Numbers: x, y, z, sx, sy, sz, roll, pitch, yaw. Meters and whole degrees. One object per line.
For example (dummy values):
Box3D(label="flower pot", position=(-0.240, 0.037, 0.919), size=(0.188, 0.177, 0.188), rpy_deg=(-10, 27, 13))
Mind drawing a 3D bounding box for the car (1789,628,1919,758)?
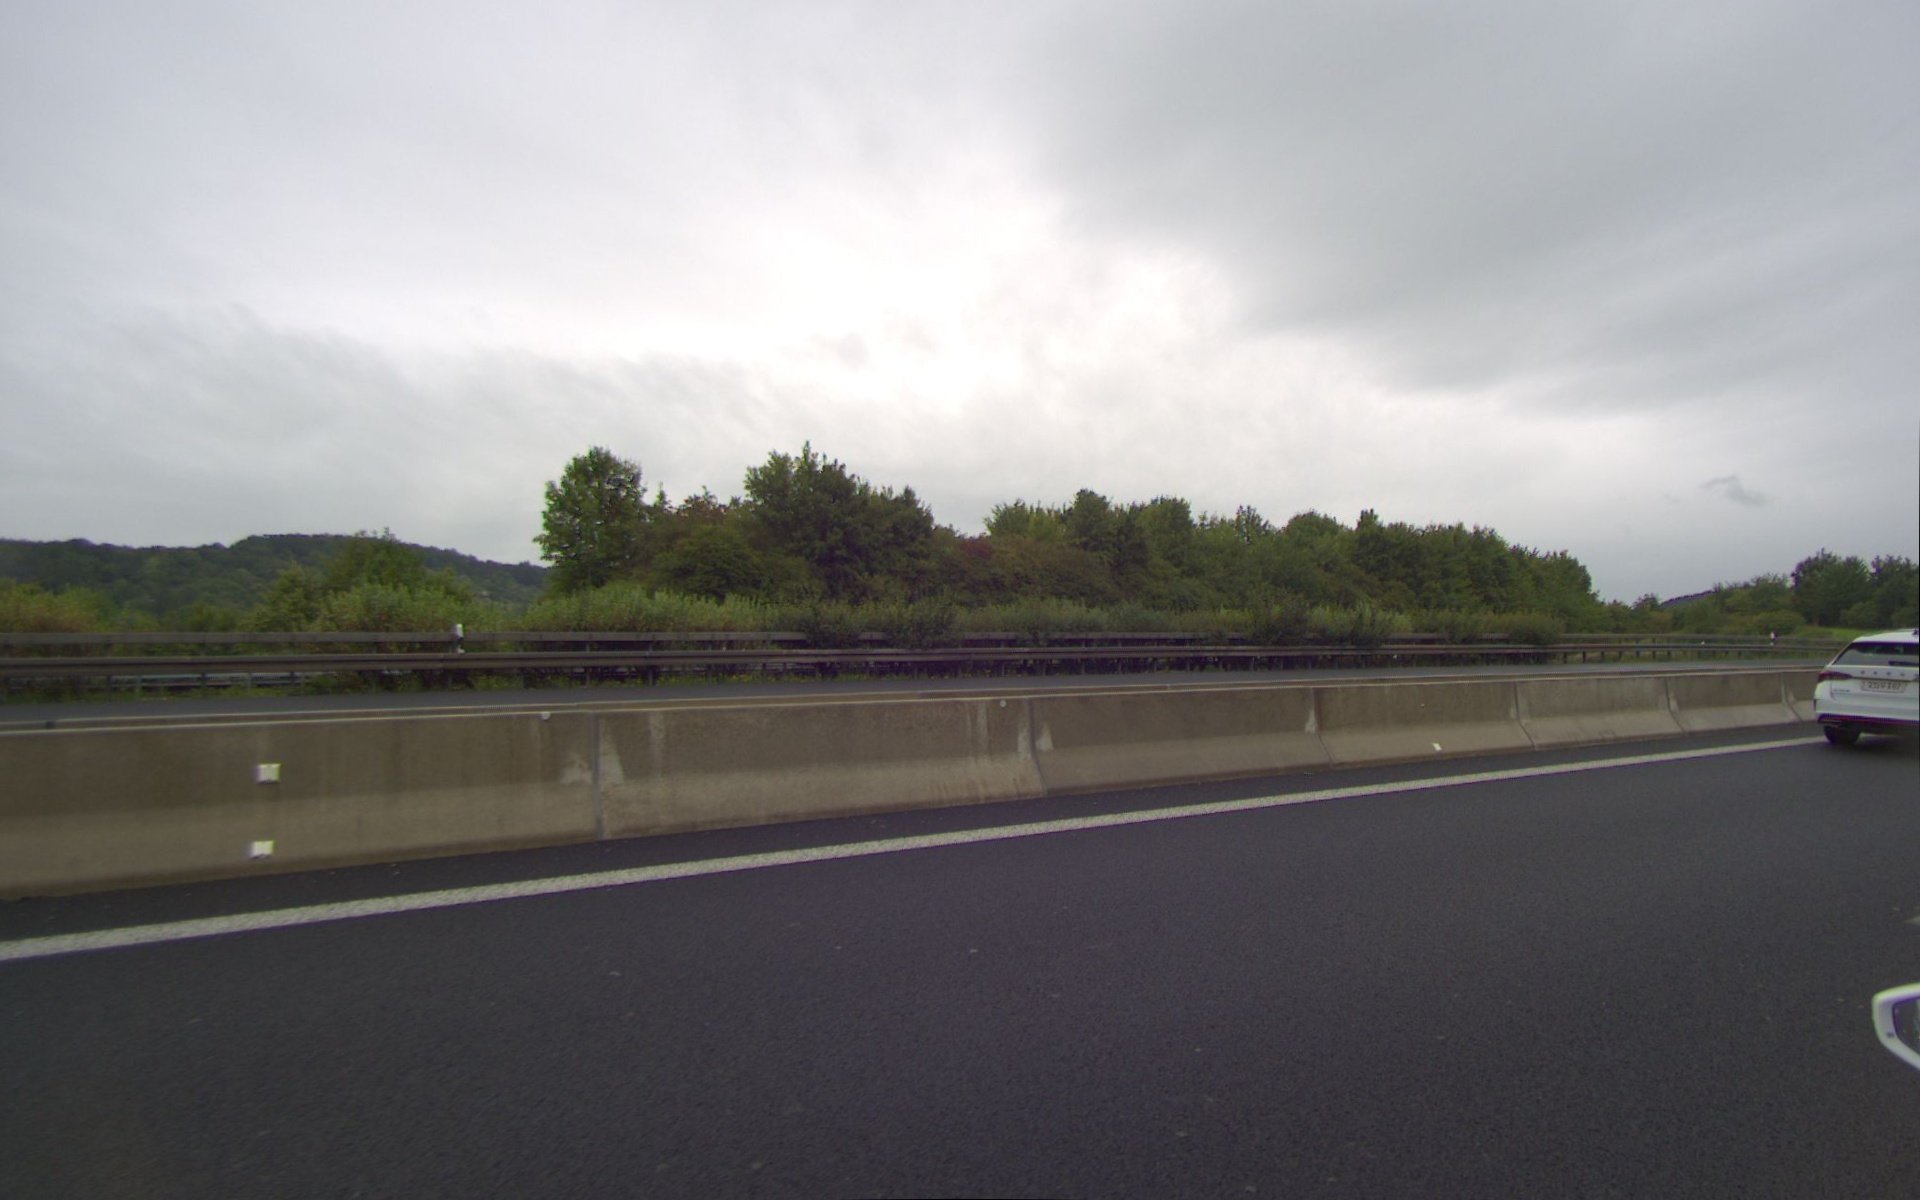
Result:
Box3D(label="car", position=(12.773, 1.128, 12.881), size=(4.722, 1.475, 1.810), rpy_deg=(2, -2, -30))

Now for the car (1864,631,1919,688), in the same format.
Box3D(label="car", position=(31.162, 1.888, 32.222), size=(4.252, 1.733, 1.985), rpy_deg=(2, -2, -30))
